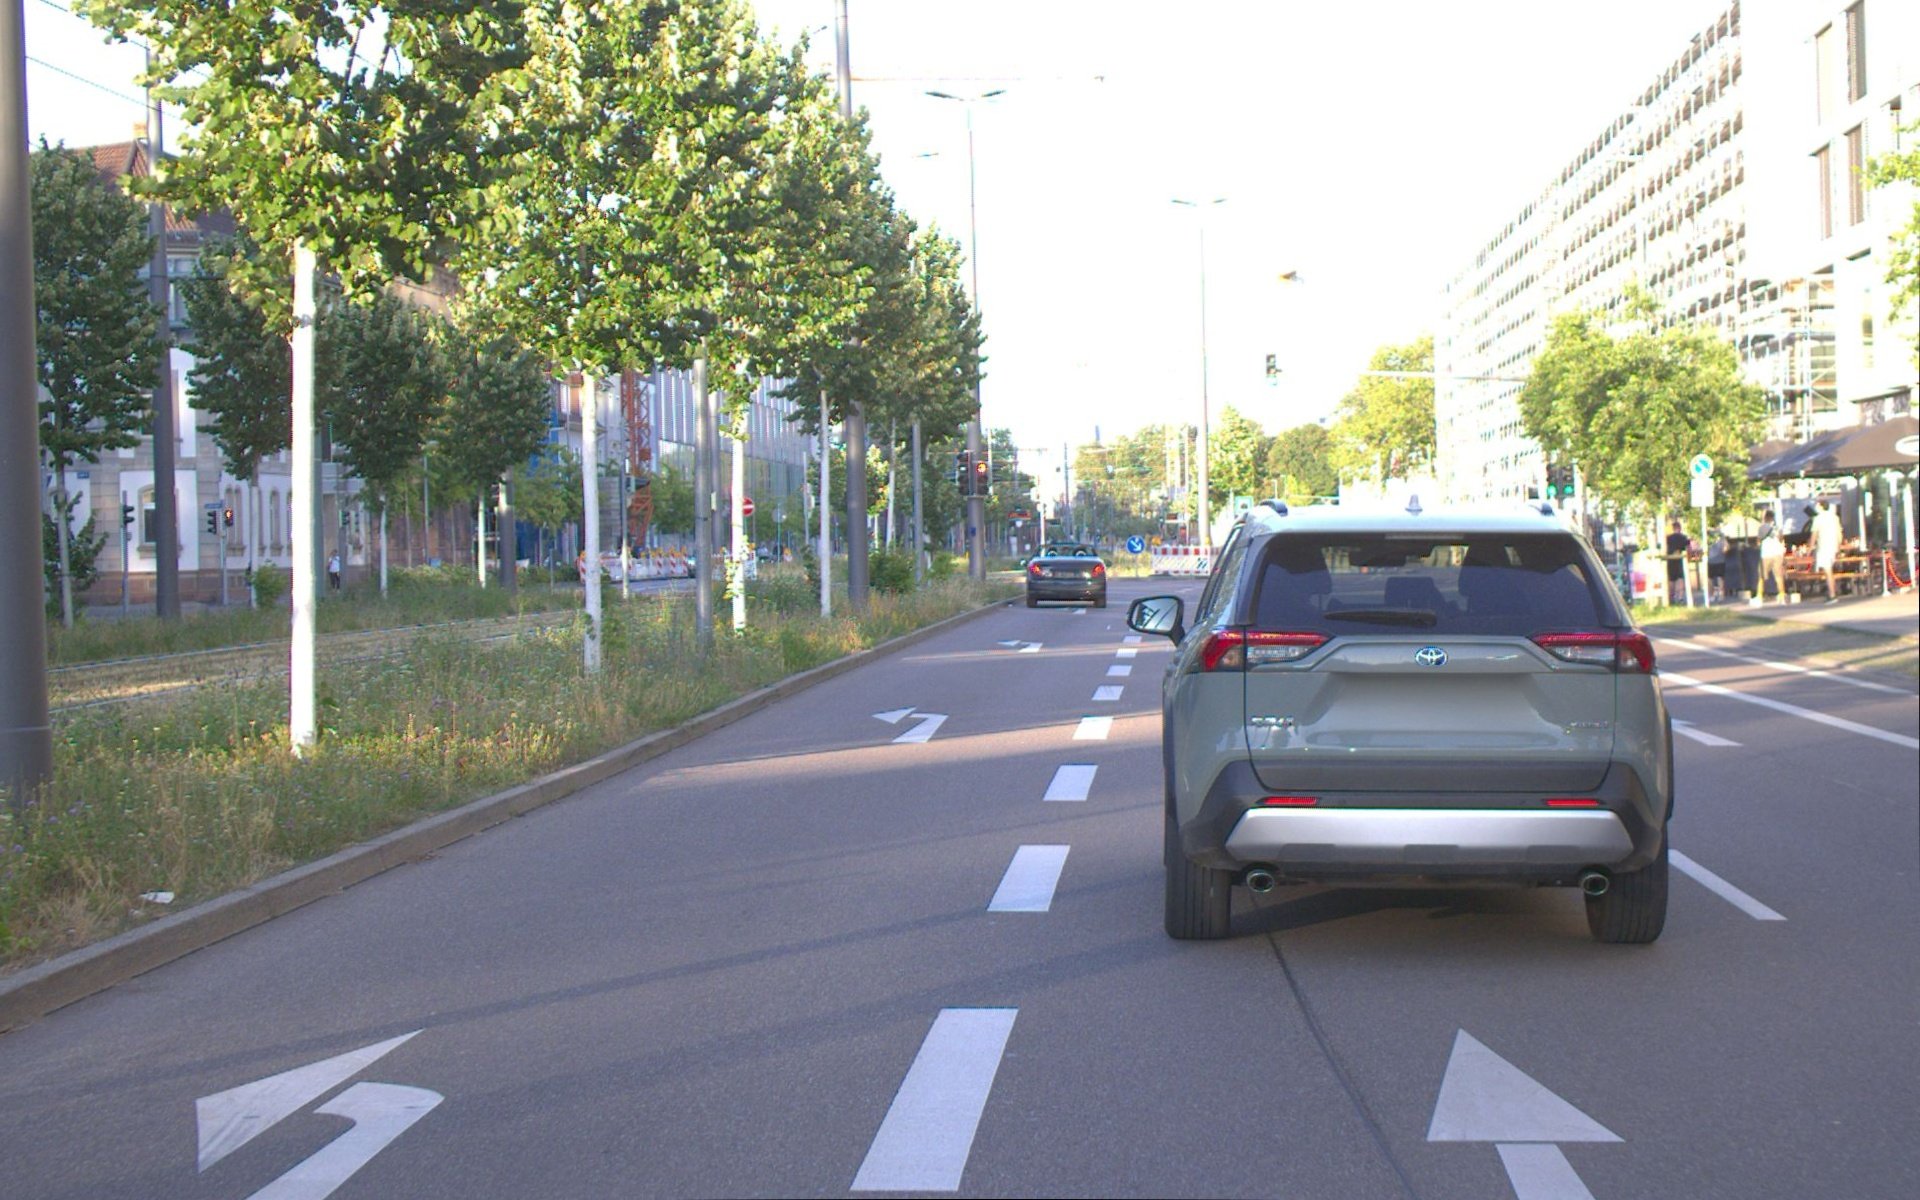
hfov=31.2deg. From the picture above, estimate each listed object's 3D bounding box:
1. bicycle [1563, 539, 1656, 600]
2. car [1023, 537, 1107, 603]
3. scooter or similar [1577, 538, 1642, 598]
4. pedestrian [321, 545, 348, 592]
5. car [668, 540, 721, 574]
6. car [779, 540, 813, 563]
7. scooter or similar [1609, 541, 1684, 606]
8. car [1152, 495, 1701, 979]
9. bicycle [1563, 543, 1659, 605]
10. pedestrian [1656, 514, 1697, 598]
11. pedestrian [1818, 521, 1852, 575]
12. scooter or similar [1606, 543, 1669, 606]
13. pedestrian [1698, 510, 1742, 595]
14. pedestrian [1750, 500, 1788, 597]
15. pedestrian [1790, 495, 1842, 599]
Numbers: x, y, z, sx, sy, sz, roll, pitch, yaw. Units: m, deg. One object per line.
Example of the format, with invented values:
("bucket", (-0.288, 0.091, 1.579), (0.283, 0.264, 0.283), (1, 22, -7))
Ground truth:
("bicycle", (13.834, -0.646, 73.238), (1.793, 1.189, 0.568), (-3, 1, -1))
("car", (2.262, -0.666, 73.517), (1.674, 1.347, 4.000), (0, 1, 3))
("scooter or similar", (13.732, -0.687, 72.694), (1.209, 1.197, 0.480), (-3, 1, -1))
("pedestrian", (-23.277, -1.165, 127.914), (0.702, 1.710, 0.812), (0, 2, -34))
("car", (-13.500, -2.191, 174.784), (1.994, 1.575, 4.123), (-2, 1, 5))
("car", (-10.632, -3.131, 223.331), (1.658, 1.426, 3.894), (1, 1, 5))
("scooter or similar", (13.598, -0.526, 68.067), (1.294, 1.214, 0.535), (-3, 0, 28))
("car", (1.723, 0.418, 13.989), (1.834, 1.667, 4.282), (0, 1, 3))
("bicycle", (13.547, -0.541, 71.565), (1.847, 1.178, 0.608), (-3, 1, 3))
("pedestrian", (14.830, -0.920, 71.155), (0.653, 1.696, 0.689), (-3, 1, 3))
("pedestrian", (22.480, -1.338, 88.292), (0.746, 1.314, 0.714), (-4, 1, 17))
("scooter or similar", (13.686, -0.507, 69.463), (1.129, 1.209, 0.531), (-3, -1, 19))
("pedestrian", (15.744, -0.988, 71.214), (0.685, 1.729, 0.761), (-3, 1, 3))
("pedestrian", (15.156, -0.960, 64.390), (0.576, 1.780, 0.828), (-3, 0, 11))
("pedestrian", (15.886, -0.984, 63.819), (0.825, 1.882, 0.866), (-3, 0, 12))
